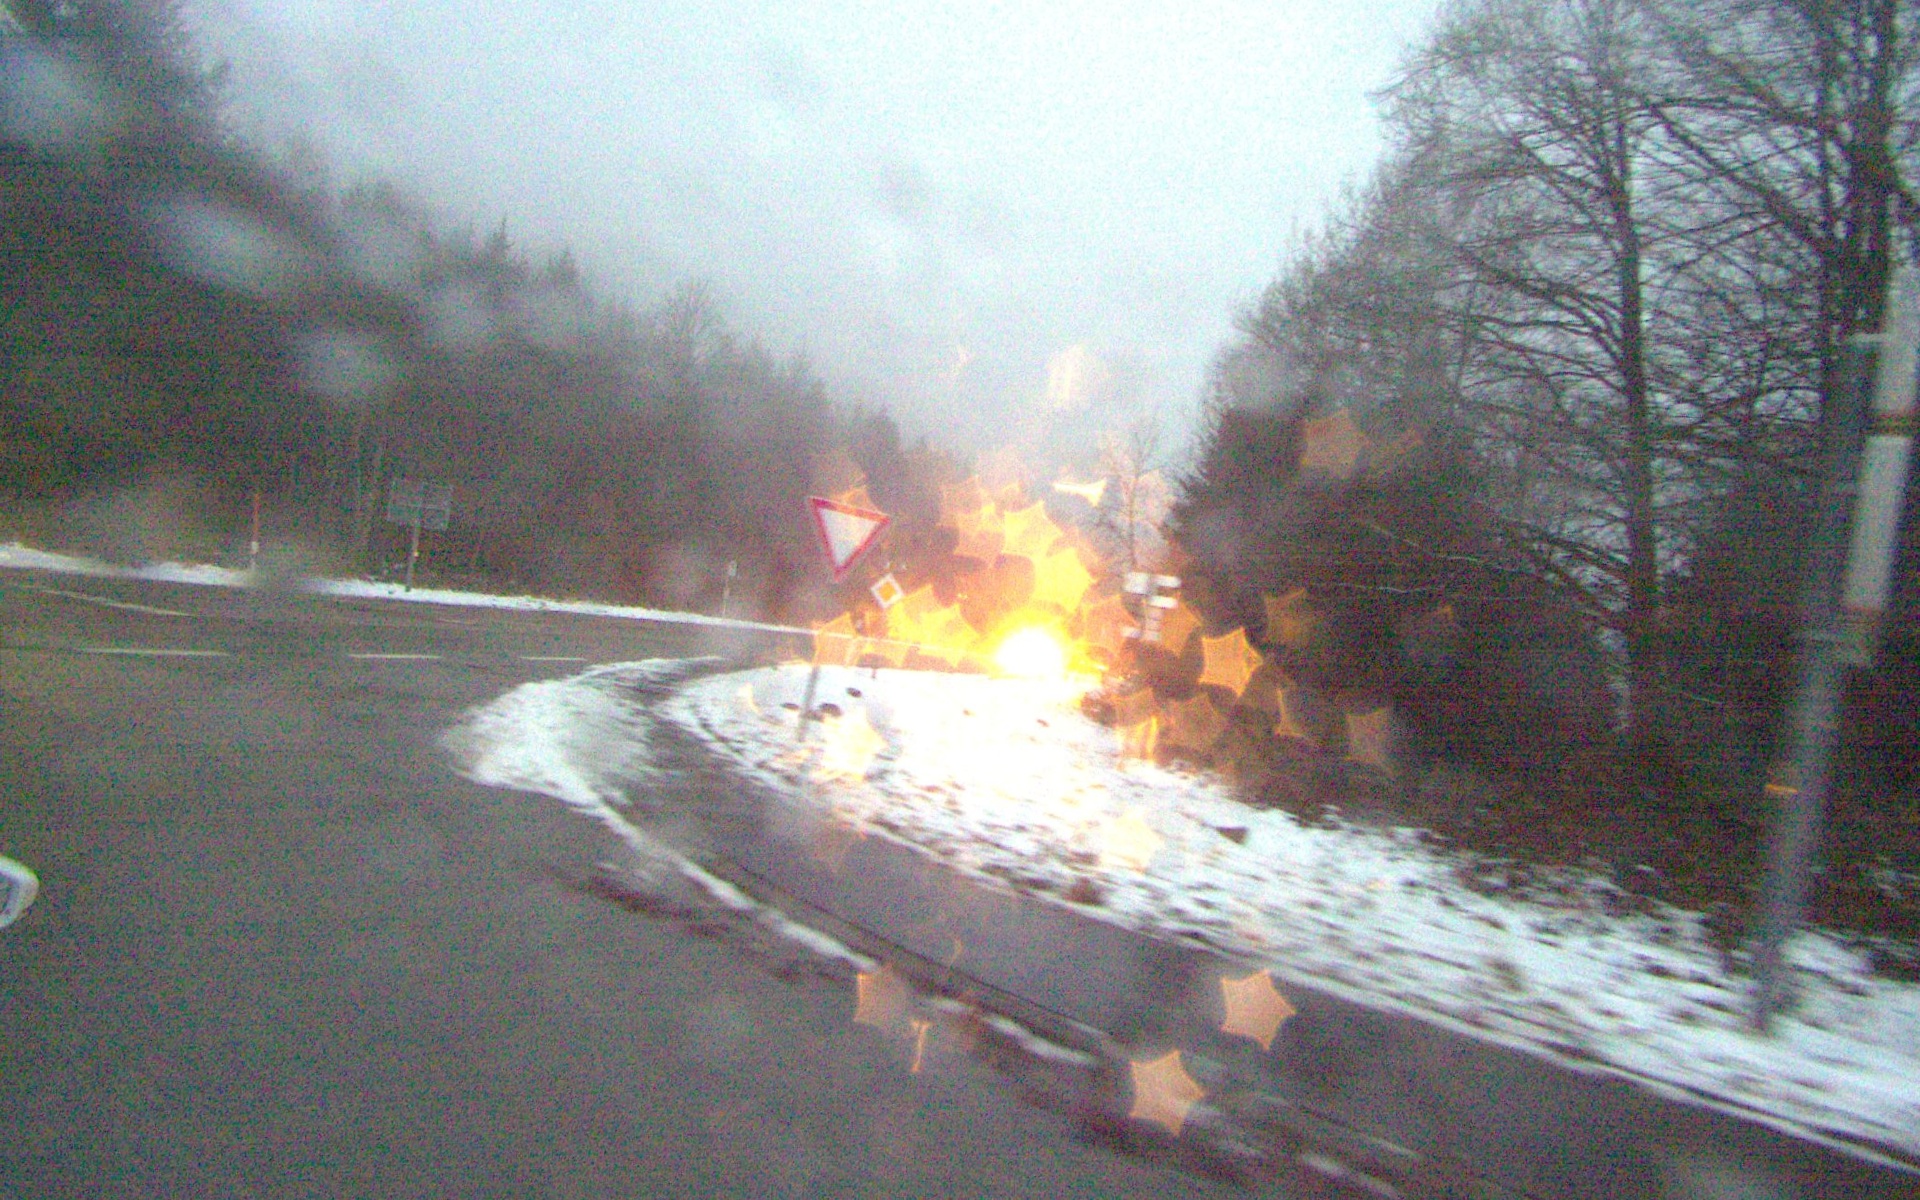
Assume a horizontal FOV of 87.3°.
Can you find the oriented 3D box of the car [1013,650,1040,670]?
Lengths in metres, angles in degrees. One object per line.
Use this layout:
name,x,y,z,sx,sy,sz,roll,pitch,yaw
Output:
car,5.893,5.290,88.556,1.547,1.469,3.416,7,-1,16
